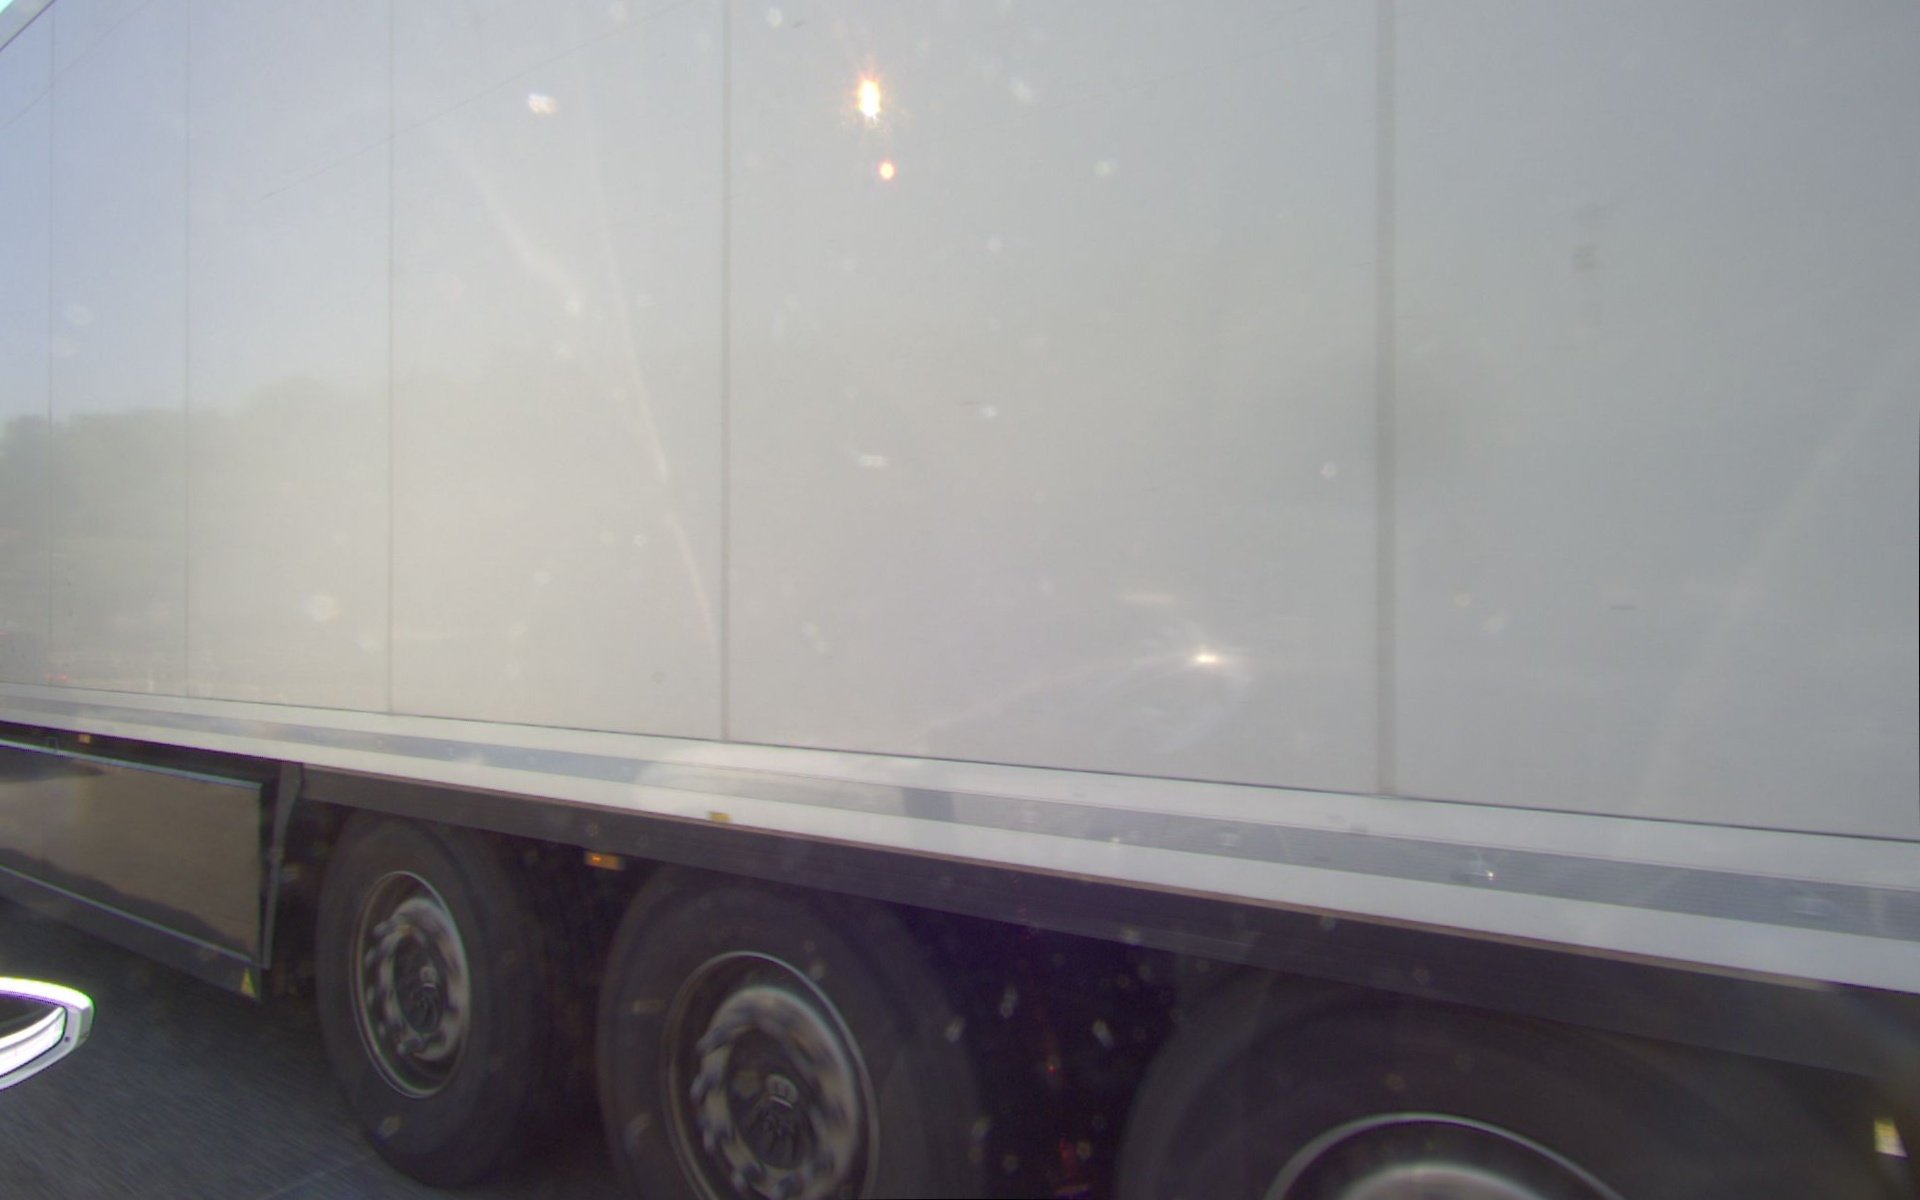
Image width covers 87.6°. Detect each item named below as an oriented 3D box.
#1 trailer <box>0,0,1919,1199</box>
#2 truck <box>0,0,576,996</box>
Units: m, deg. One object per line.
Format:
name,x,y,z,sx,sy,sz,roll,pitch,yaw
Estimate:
trailer,0.056,-0.578,2.946,11.385,4.179,2.527,-1,-2,33
truck,-6.377,-0.399,7.114,8.122,4.076,2.509,-1,-2,33
